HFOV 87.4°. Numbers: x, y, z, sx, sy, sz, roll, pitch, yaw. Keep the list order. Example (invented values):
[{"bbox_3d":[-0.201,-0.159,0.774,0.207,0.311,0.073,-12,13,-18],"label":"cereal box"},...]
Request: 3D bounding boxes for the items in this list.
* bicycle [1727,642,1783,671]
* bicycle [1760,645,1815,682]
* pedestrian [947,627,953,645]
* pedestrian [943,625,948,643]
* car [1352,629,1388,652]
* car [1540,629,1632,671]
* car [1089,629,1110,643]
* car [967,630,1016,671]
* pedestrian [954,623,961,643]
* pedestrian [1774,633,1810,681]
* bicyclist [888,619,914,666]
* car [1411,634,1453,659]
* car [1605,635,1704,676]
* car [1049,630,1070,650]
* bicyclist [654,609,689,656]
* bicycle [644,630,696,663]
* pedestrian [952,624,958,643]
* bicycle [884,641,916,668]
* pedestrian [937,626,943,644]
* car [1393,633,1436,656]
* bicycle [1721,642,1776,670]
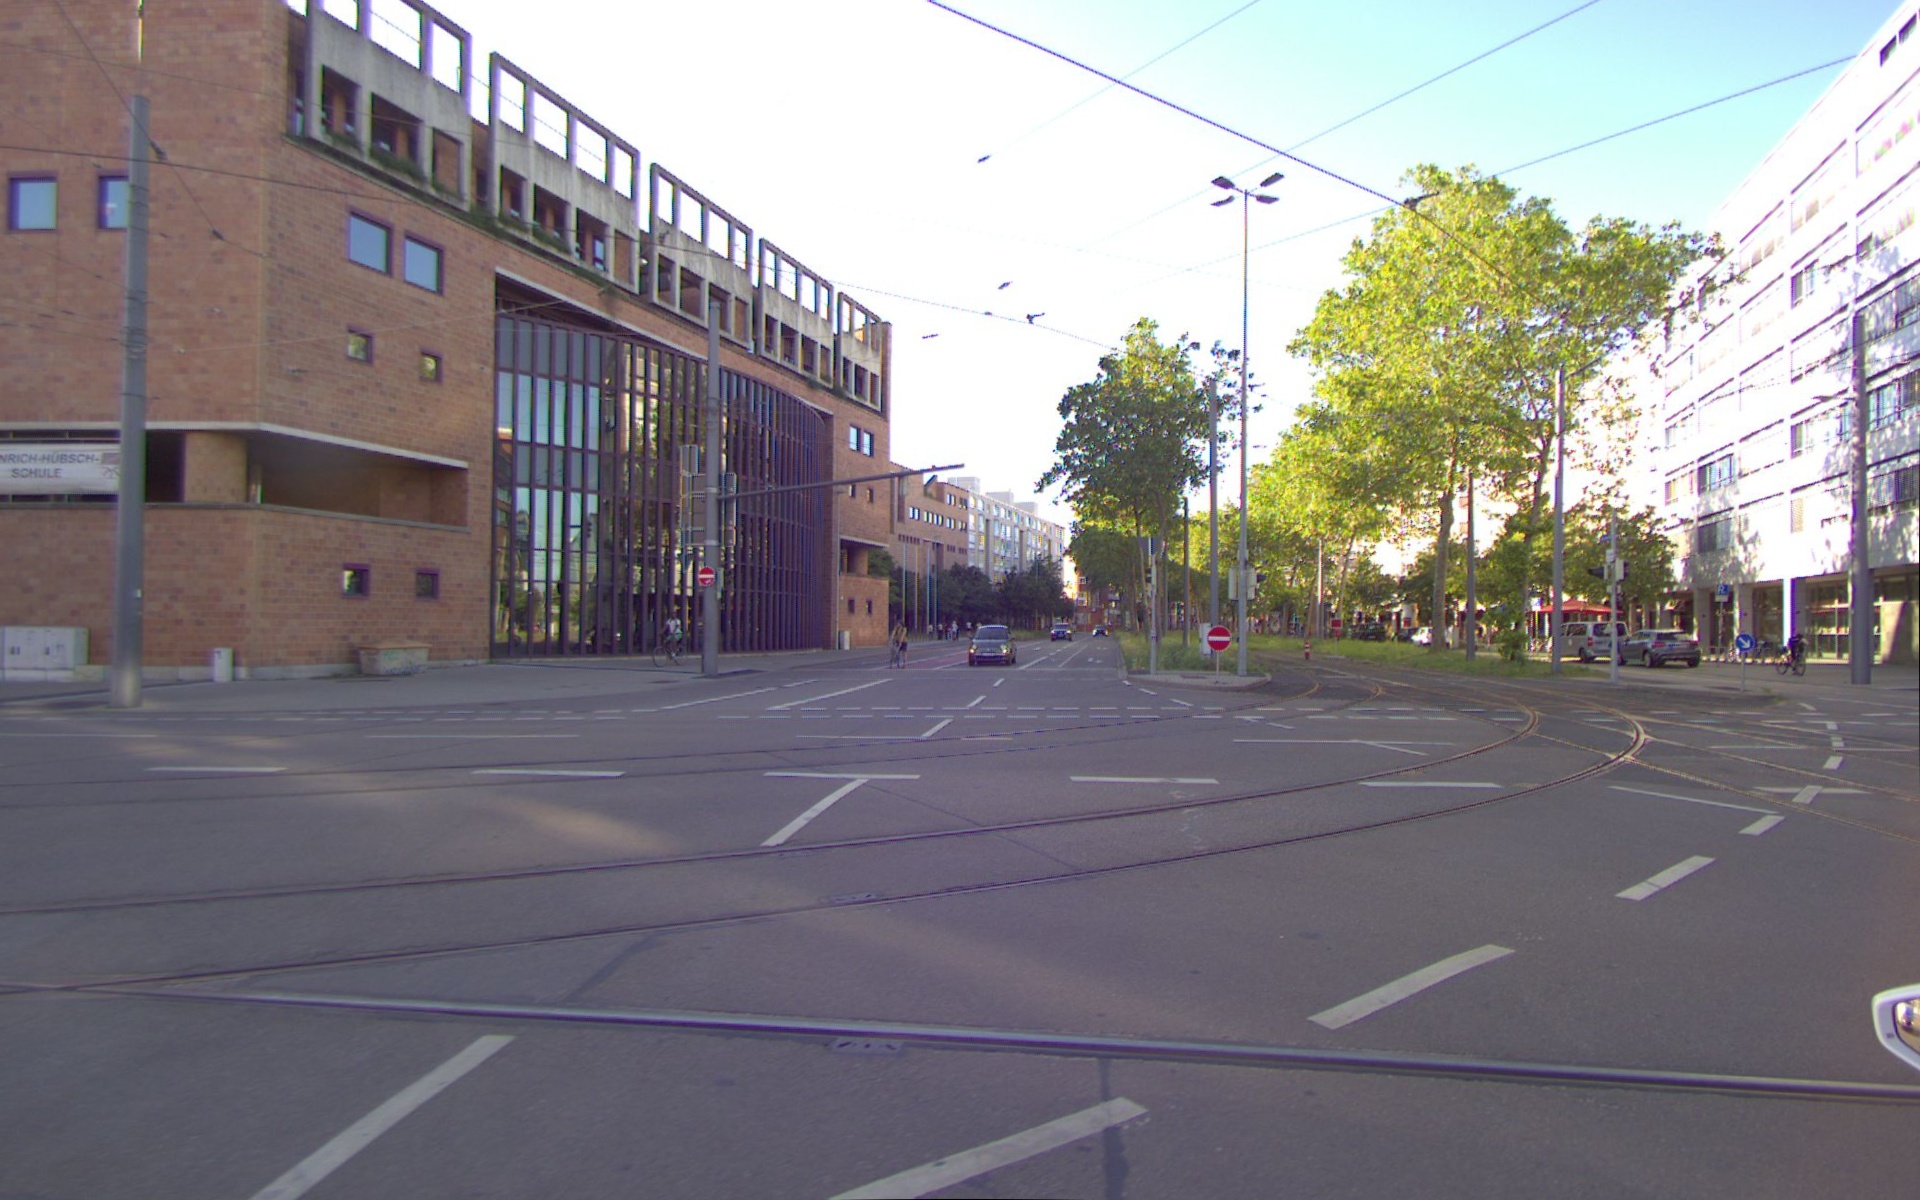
[{"bbox_3d":[33.406,2.363,42.241,1.801,1.167,0.470,0,-1,15],"label":"bicycle"},{"bbox_3d":[28.701,2.185,34.868,0.600,1.179,1.849,-2,-1,9],"label":"bicycle"},{"bbox_3d":[-0.813,2.983,82.767,0.384,1.435,0.459,1,-1,16],"label":"pedestrian"},{"bbox_3d":[-1.243,2.834,84.313,0.287,1.476,0.316,1,-1,15],"label":"pedestrian"},{"bbox_3d":[36.061,3.554,88.457,1.995,2.003,4.418,0,-1,8],"label":"car"},{"bbox_3d":[29.586,2.329,47.666,1.889,1.867,4.928,-1,-2,9],"label":"car"},{"bbox_3d":[17.053,4.371,122.693,1.960,1.519,3.896,2,0,15],"label":"car"},{"bbox_3d":[1.272,1.901,38.718,1.622,1.346,3.624,2,0,5],"label":"car"},{"bbox_3d":[-0.226,2.777,85.094,0.429,1.727,0.480,1,-1,16],"label":"pedestrian"},{"bbox_3d":[28.868,1.966,34.860,0.594,1.632,0.838,-2,0,11],"label":"pedestrian"},{"bbox_3d":[-2.131,1.529,36.247,0.612,1.643,0.814,1,-1,21],"label":"bicyclist"},{"bbox_3d":[33.346,3.287,71.038,1.827,1.659,3.871,1,-2,12],"label":"car"},{"bbox_3d":[28.971,2.298,42.072,1.827,1.593,4.418,-1,-2,12],"label":"car"},{"bbox_3d":[8.903,3.543,90.094,1.791,1.583,4.344,2,0,5],"label":"car"},{"bbox_3d":[-10.024,1.131,34.906,0.673,1.611,0.927,1,-1,24],"label":"bicyclist"},{"bbox_3d":[-10.058,1.590,34.893,0.605,1.094,1.919,1,-1,24],"label":"bicycle"},{"bbox_3d":[-0.439,2.797,84.297,0.359,1.543,0.423,1,-1,17],"label":"pedestrian"},{"bbox_3d":[-2.143,1.947,36.240,0.526,0.925,1.569,1,-1,21],"label":"bicycle"},{"bbox_3d":[-1.653,2.904,82.866,0.358,1.438,0.332,1,-1,17],"label":"pedestrian"},{"bbox_3d":[34.625,3.365,76.633,1.953,1.650,4.088,0,-2,8],"label":"car"},{"bbox_3d":[33.523,2.368,42.706,1.801,1.167,0.470,0,-1,15],"label":"bicycle"}]
